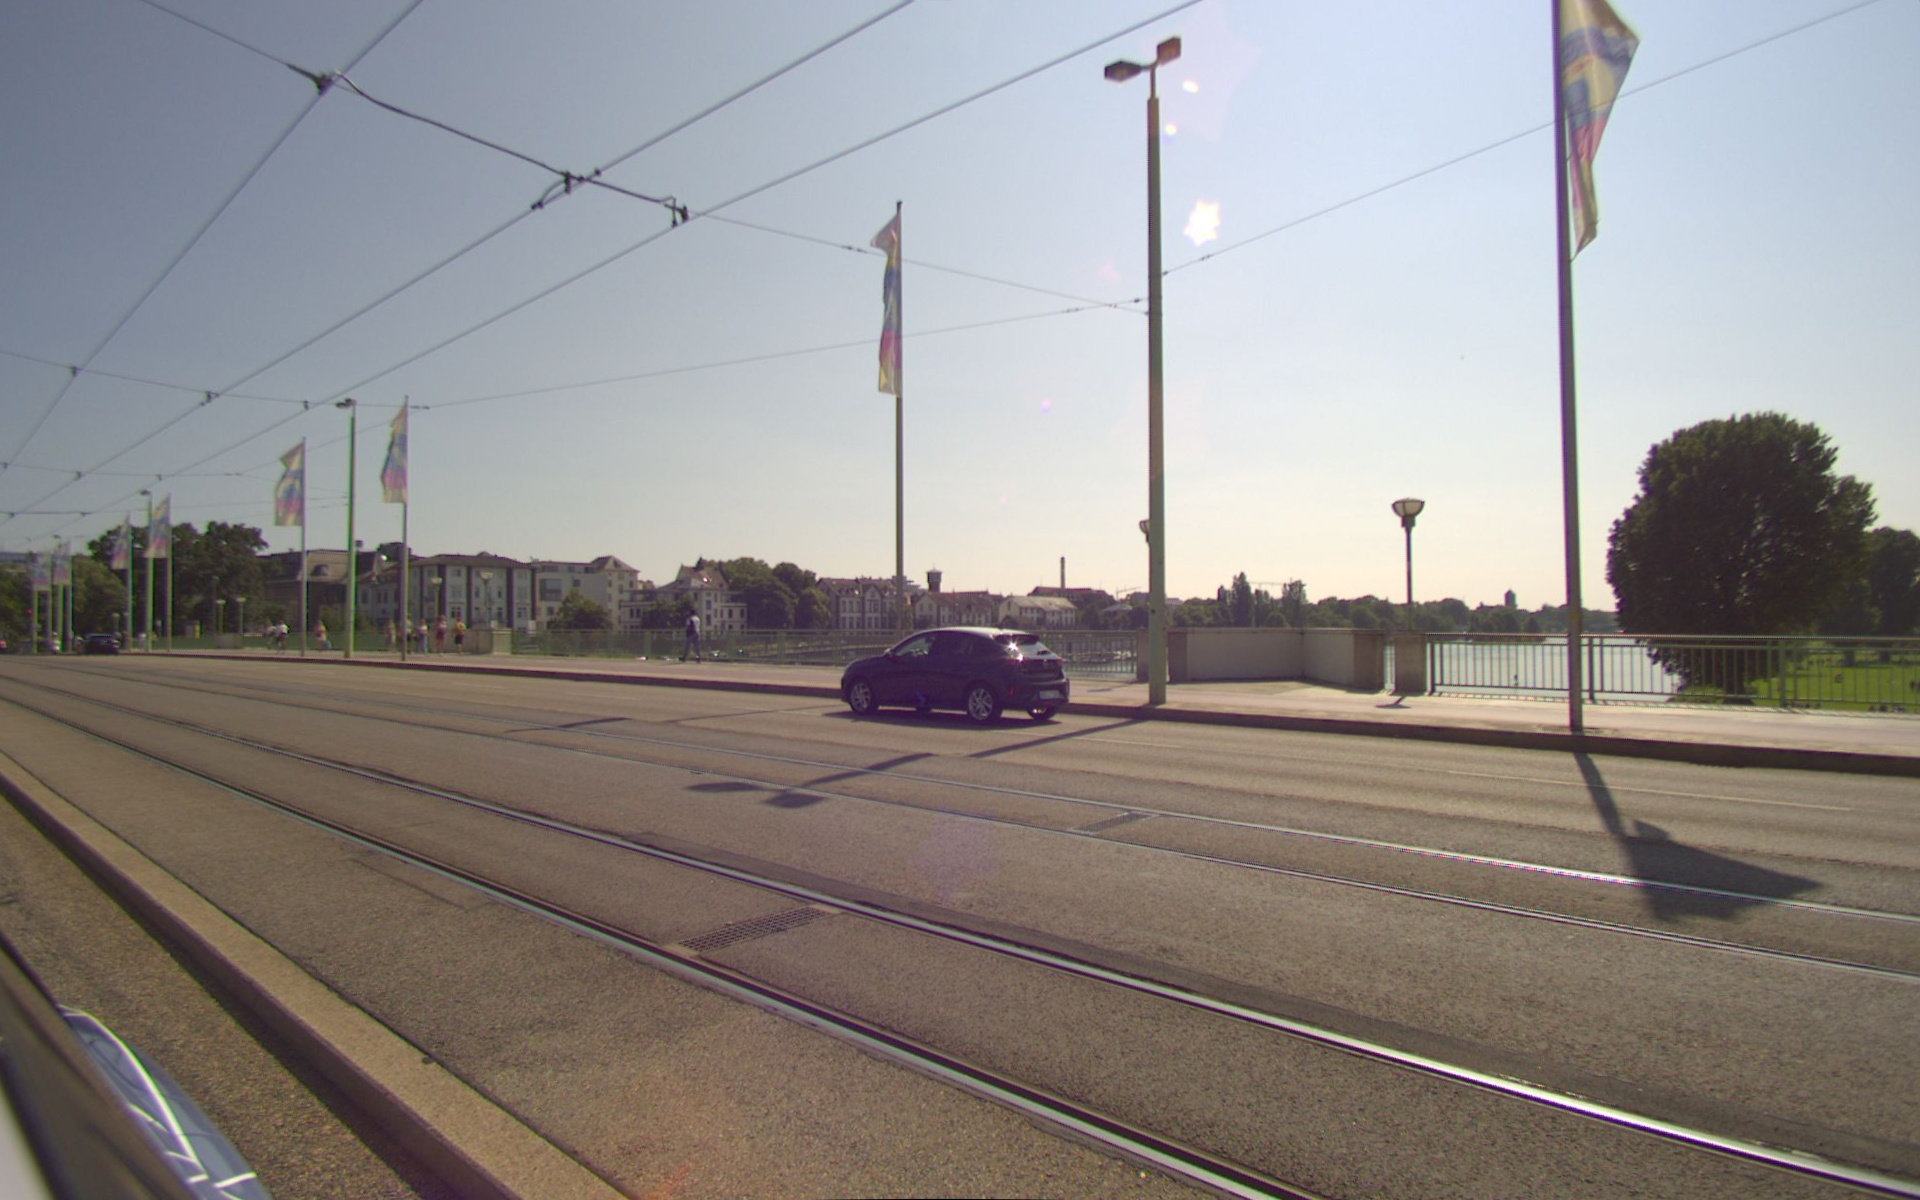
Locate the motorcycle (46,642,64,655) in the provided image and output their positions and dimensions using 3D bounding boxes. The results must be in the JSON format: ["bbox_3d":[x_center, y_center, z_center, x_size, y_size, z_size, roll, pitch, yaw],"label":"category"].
[{"bbox_3d":[-70.198,3.777,78.490,2.144,0.895,0.725,-1,2,41],"label":"motorcycle"}]

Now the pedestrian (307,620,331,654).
[{"bbox_3d":[-33.428,1.942,52.797,1.022,1.712,0.777,-2,0,41],"label":"pedestrian"}]

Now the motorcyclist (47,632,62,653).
[{"bbox_3d":[-70.217,3.294,78.473,0.728,1.524,0.730,-2,2,41],"label":"motorcyclist"}]

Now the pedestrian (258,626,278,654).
[{"bbox_3d":[-42.970,2.467,62.849,1.022,1.712,0.777,-2,0,41],"label":"pedestrian"}]

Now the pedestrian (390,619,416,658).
[{"bbox_3d":[-24.592,1.694,44.662,1.022,1.712,0.663,-2,0,41],"label":"pedestrian"}]

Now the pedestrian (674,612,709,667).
[{"bbox_3d":[-8.665,1.271,32.640,1.022,1.712,0.584,-2,0,41],"label":"pedestrian"}]

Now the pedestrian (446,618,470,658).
[{"bbox_3d":[-22.110,1.671,44.571,1.022,1.712,0.584,-2,0,41],"label":"pedestrian"}]

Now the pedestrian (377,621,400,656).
[{"bbox_3d":[-27.403,1.837,48.514,1.022,1.611,0.619,-2,0,41],"label":"pedestrian"}]

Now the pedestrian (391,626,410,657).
[{"bbox_3d":[-27.111,2.003,49.079,0.788,1.448,0.540,-2,0,41],"label":"pedestrian"}]

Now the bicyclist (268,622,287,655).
[{"bbox_3d":[-34.919,1.971,51.777,0.621,1.663,0.657,-2,-2,42],"label":"bicyclist"}]

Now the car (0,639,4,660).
[{"bbox_3d":[-80.577,4.122,83.810,3.999,1.709,1.692,-1,2,42],"label":"car"}]

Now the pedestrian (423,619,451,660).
[{"bbox_3d":[-22.030,1.646,42.615,1.022,1.703,0.677,-2,0,41],"label":"pedestrian"}]

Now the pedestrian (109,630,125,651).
[{"bbox_3d":[-69.302,3.323,83.193,1.022,1.712,0.777,-2,0,41],"label":"pedestrian"}]

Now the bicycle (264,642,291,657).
[{"bbox_3d":[-34.957,2.522,51.817,2.172,0.721,0.658,-2,-2,42],"label":"bicycle"}]

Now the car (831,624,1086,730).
[{"bbox_3d":[-0.098,1.134,16.010,3.899,1.466,1.698,-1,-3,41],"label":"car"}]

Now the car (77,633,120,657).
[{"bbox_3d":[-56.440,2.917,66.277,3.999,1.447,1.650,-1,-2,42],"label":"car"}]

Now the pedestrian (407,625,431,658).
[{"bbox_3d":[-24.115,1.844,45.074,1.022,1.425,0.584,-2,0,41],"label":"pedestrian"}]
